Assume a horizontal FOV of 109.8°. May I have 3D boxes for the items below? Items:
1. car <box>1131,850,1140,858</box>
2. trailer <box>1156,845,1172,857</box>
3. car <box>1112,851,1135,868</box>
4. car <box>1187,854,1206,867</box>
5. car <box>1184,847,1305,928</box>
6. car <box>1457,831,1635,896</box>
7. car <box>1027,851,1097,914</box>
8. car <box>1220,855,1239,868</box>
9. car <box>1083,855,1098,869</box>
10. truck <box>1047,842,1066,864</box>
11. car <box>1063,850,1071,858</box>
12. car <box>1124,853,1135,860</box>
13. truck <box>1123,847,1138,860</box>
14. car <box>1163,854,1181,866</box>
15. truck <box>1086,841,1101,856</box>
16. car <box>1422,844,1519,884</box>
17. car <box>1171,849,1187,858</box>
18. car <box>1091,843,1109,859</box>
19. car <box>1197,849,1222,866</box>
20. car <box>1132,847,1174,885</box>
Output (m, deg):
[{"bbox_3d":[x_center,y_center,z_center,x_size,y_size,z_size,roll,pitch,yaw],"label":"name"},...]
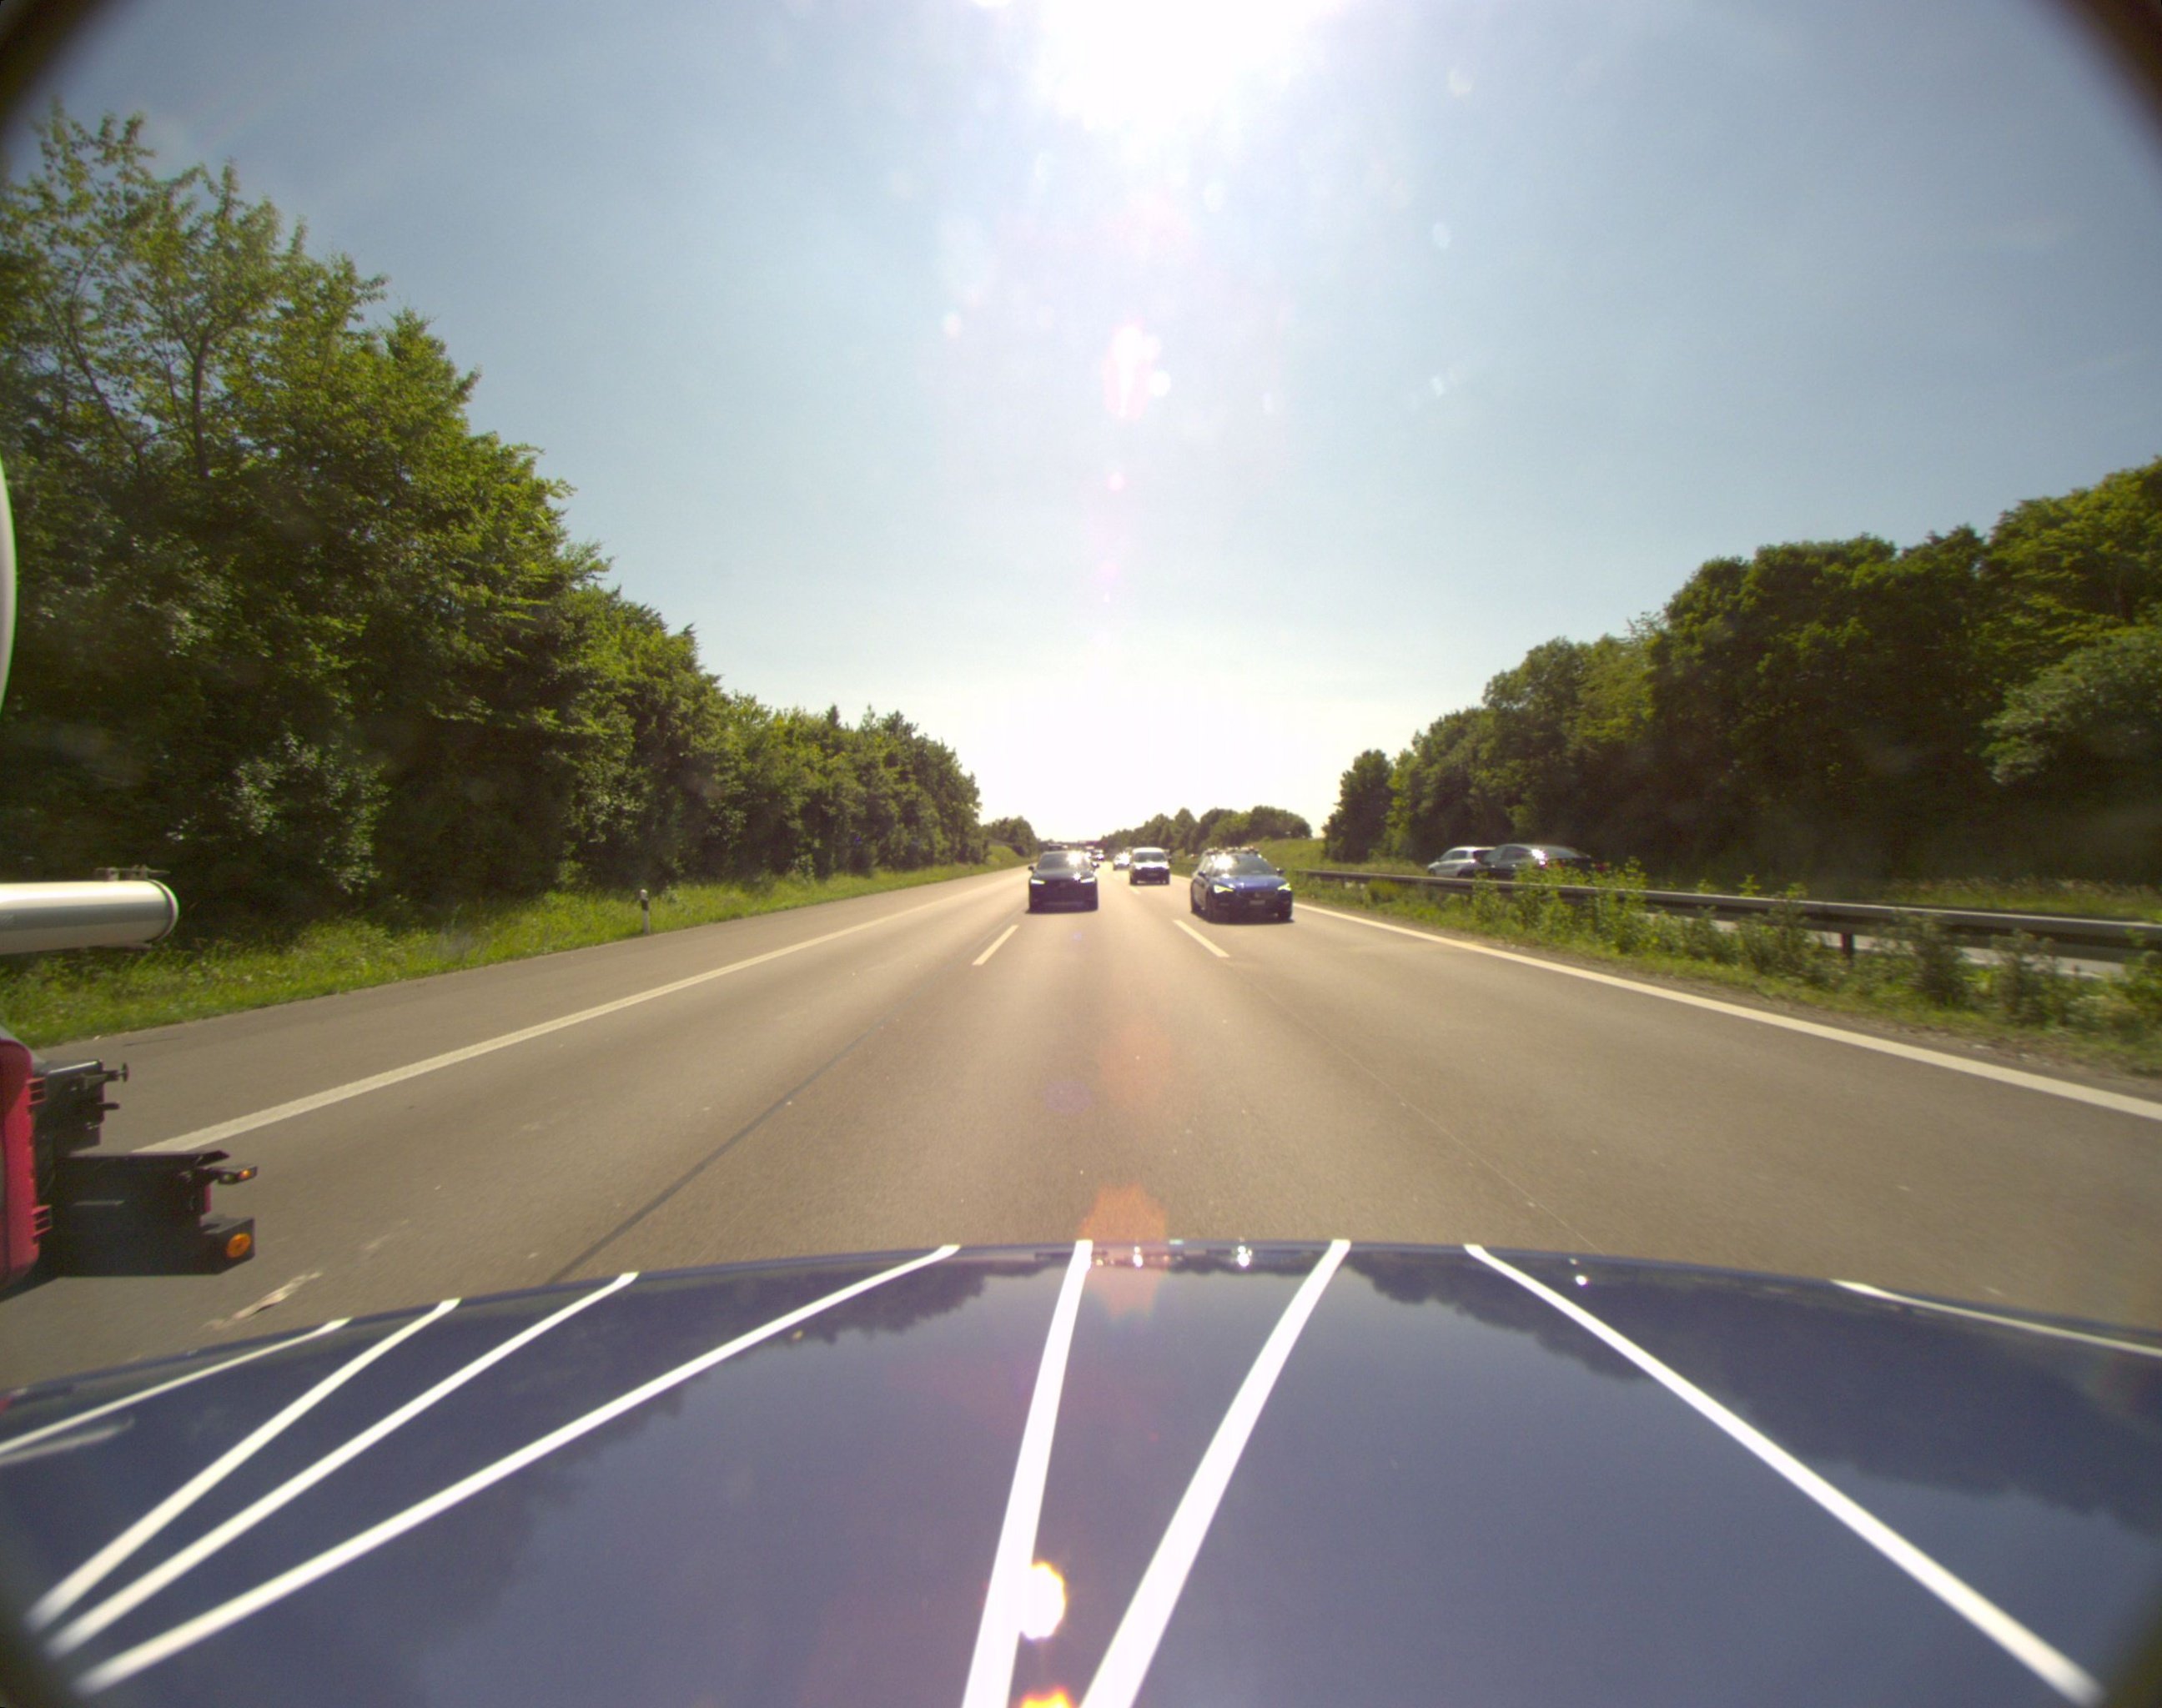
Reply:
[{"bbox_3d":[11.697,-0.022,162.105,1.802,1.584,4.000,0,0,2],"label":"car"},{"bbox_3d":[19.480,-0.727,178.264,2.738,2.671,8.629,-1,0,0],"label":"trailer"},{"bbox_3d":[3.961,0.493,71.663,1.998,1.540,3.999,-1,1,0],"label":"car"},{"bbox_3d":[16.494,0.913,109.049,1.998,1.794,4.695,-1,1,0],"label":"car"},{"bbox_3d":[3.640,0.691,17.685,1.905,1.616,4.240,-1,0,0],"label":"car"},{"bbox_3d":[12.055,0.214,20.159,1.864,1.518,4.751,0,0,1],"label":"car"},{"bbox_3d":[-0.516,0.753,22.268,1.812,1.648,4.000,-2,0,0],"label":"car"},{"bbox_3d":[20.068,0.995,102.844,1.801,1.545,4.128,2,0,2],"label":"car"},{"bbox_3d":[1.168,0.959,90.726,1.743,1.630,3.844,0,1,2],"label":"car"},{"bbox_3d":[-3.975,-0.158,123.511,2.965,3.388,8.046,0,1,-1],"label":"truck"},{"bbox_3d":[-3.545,-0.024,193.378,1.998,1.856,4.228,0,0,1],"label":"car"},{"bbox_3d":[10.335,0.554,161.105,1.917,1.508,4.616,0,0,-1],"label":"car"},{"bbox_3d":[16.211,-0.178,249.466,3.220,4.026,16.670,0,0,-2],"label":"truck"},{"bbox_3d":[12.716,0.807,106.565,1.998,1.595,5.089,-1,0,0],"label":"car"},{"bbox_3d":[3.073,-1.438,188.919,3.243,3.684,10.932,0,0,-2],"label":"truck"},{"bbox_3d":[15.895,0.369,31.281,1.864,1.518,4.214,0,0,1],"label":"car"},{"bbox_3d":[16.740,-0.058,129.849,1.999,1.388,4.658,-1,1,0],"label":"car"},{"bbox_3d":[3.625,-0.609,149.406,3.242,3.094,7.603,0,0,-1],"label":"car"},{"bbox_3d":[12.686,0.348,75.215,1.801,1.657,4.128,0,0,2],"label":"car"},{"bbox_3d":[3.500,0.554,37.529,1.869,1.713,3.980,-1,1,3],"label":"car"}]
